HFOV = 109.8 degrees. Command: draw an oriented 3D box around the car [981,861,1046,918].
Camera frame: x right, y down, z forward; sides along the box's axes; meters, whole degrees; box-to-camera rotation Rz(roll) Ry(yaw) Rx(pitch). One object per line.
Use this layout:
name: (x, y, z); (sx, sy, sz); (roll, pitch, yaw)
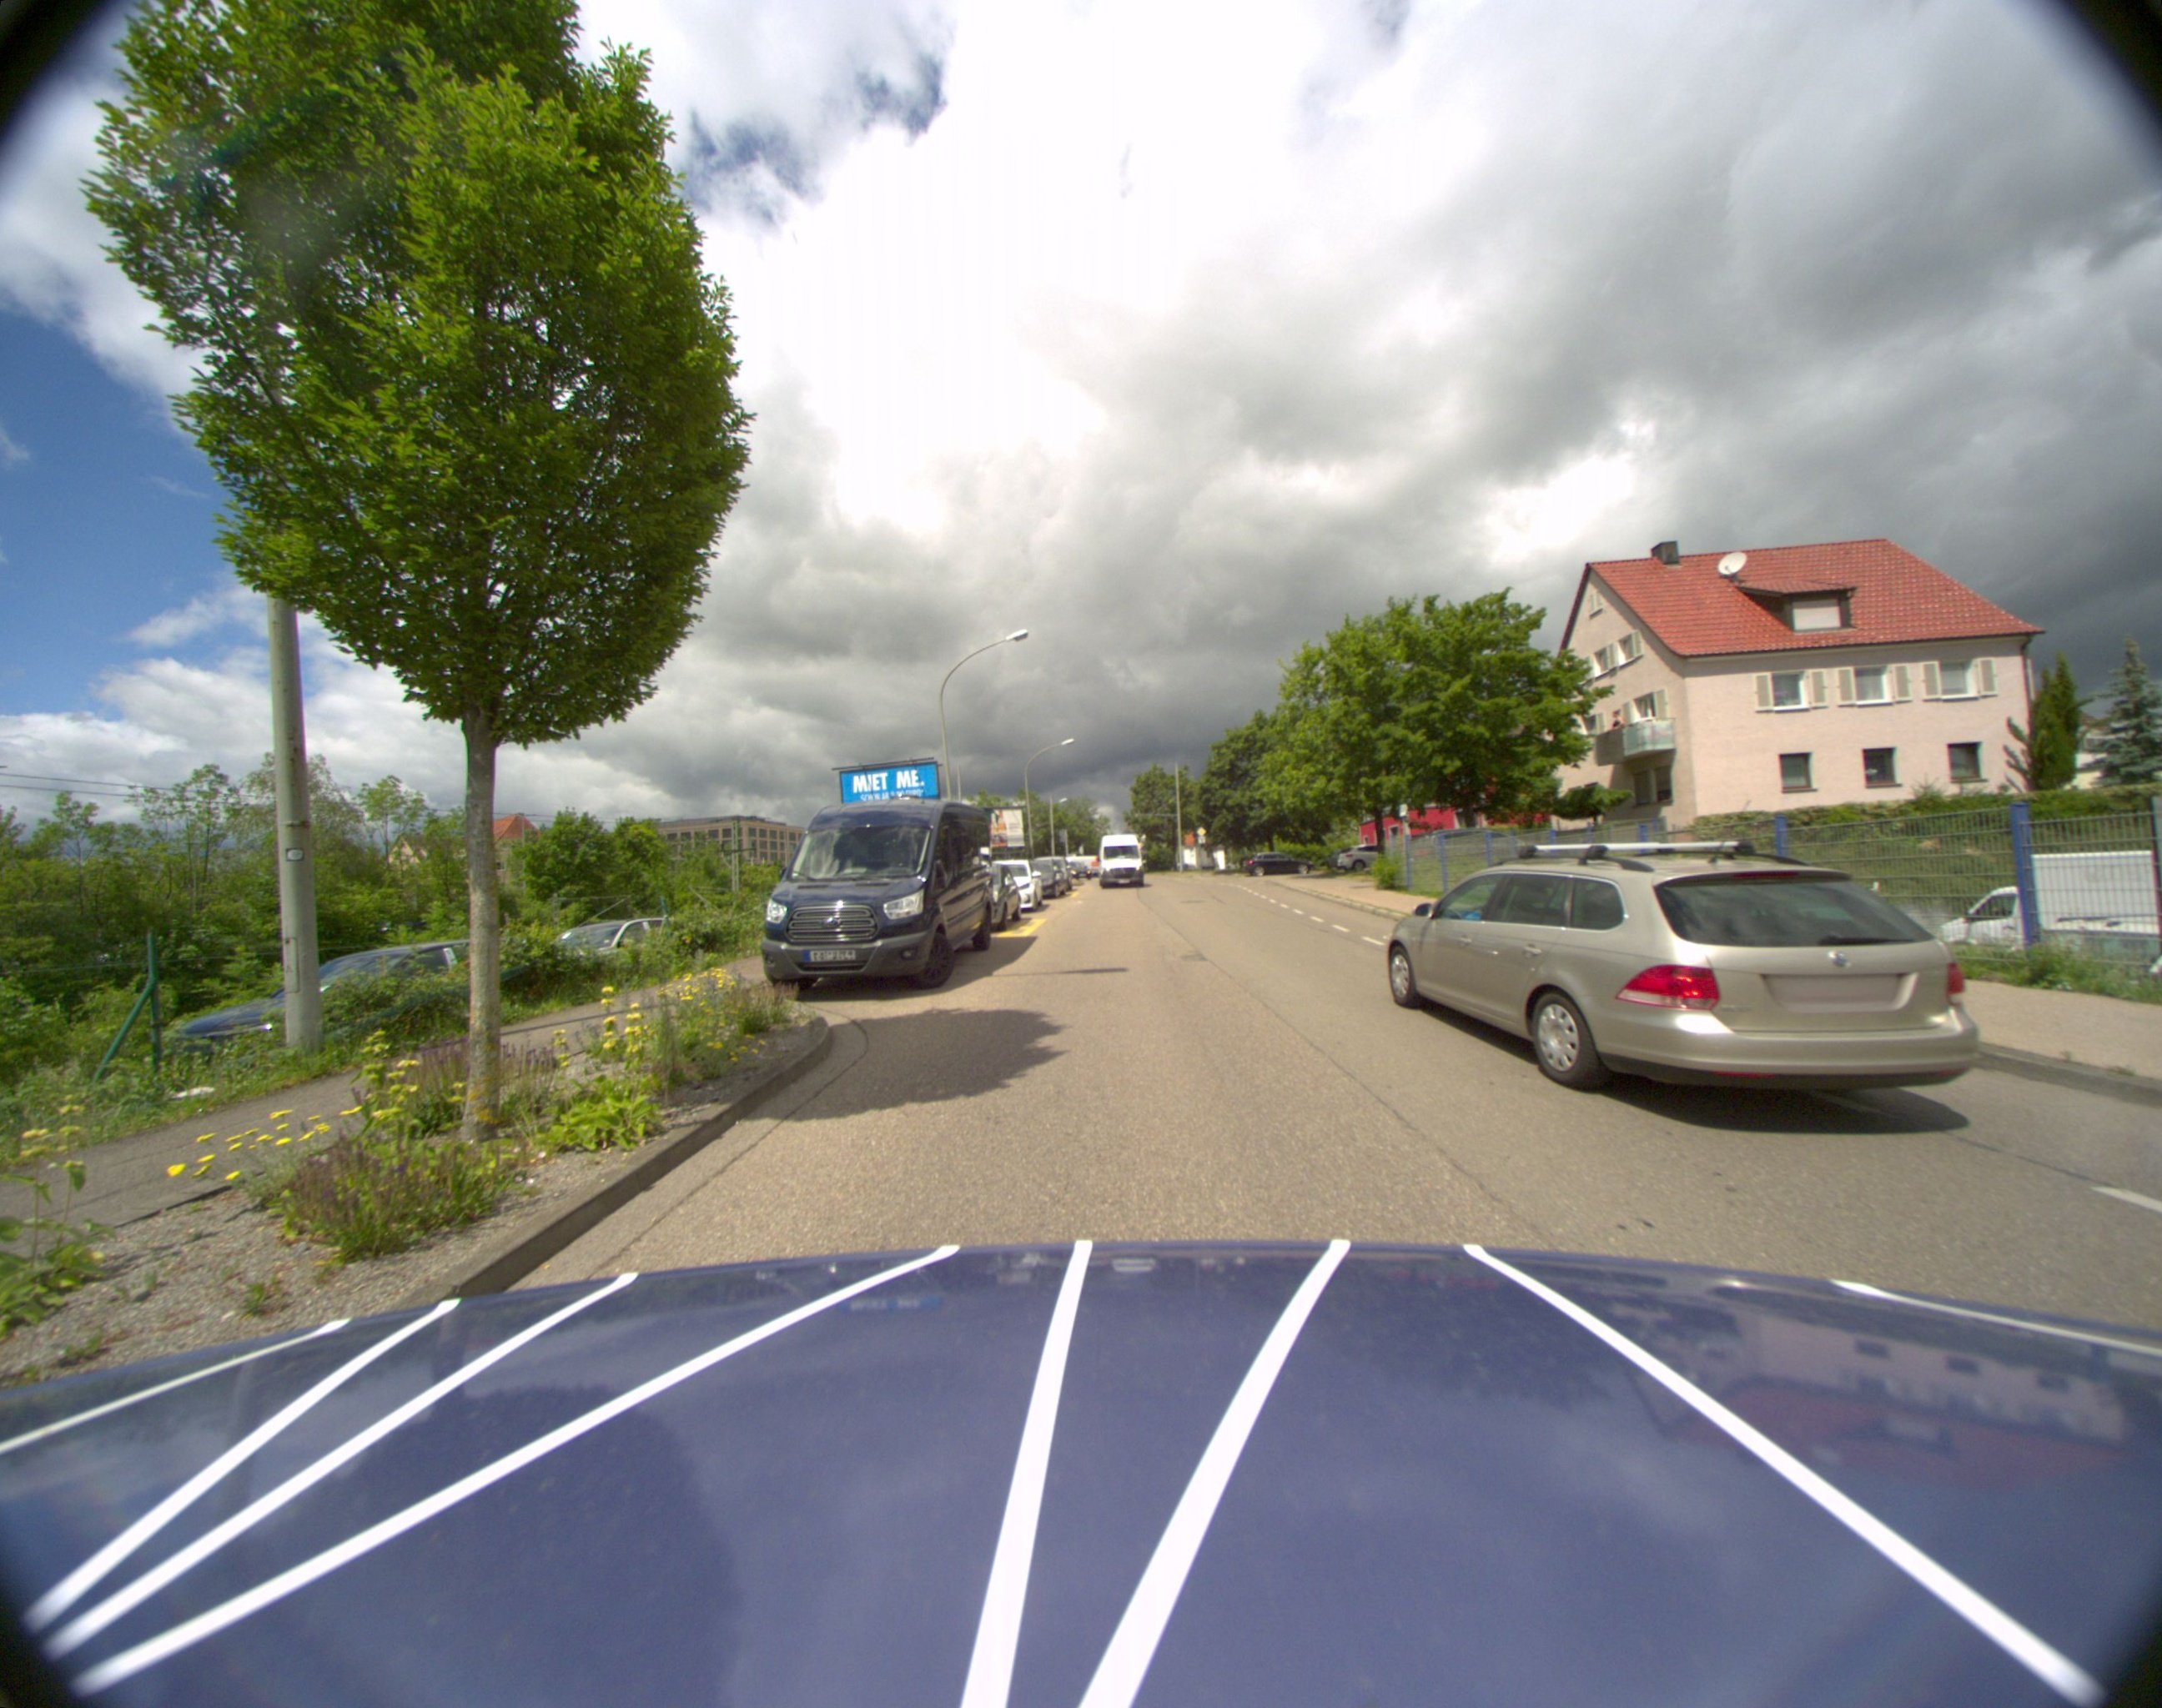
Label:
car: (-1.910, 0.988, 22.317); (1.402, 1.424, 3.445); (-2, 1, 2)

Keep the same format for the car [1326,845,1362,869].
car: (18.113, 0.177, 52.418); (1.584, 1.497, 3.861); (-2, 1, 8)

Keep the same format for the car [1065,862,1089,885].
car: (-0.346, 1.445, 57.373); (1.585, 1.497, 3.956); (-2, 0, -3)

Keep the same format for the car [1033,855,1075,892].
car: (-1.172, 0.857, 34.598); (1.584, 1.497, 3.957); (-2, 0, 2)

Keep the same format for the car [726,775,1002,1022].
car: (-2.634, 0.464, 11.026); (2.059, 2.579, 5.735); (-2, 1, 2)

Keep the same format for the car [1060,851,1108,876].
car: (0.356, 1.044, 84.503); (5.140, 2.576, 1.956); (-3, 1, -40)

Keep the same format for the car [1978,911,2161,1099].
car: (14.847, 1.839, 9.923); (3.997, 2.002, 1.851); (-2, 1, 1)

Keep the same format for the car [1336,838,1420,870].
car: (15.805, -0.004, 40.572); (3.856, 1.497, 1.586); (-2, 1, 2)

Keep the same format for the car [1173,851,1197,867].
car: (14.227, 0.676, 103.684); (1.957, 1.958, 5.138); (-2, 1, 24)

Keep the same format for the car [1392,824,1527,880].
car: (13.223, -0.067, 26.674); (3.955, 1.766, 1.523); (-2, 1, -2)

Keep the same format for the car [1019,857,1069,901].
car: (-1.365, 0.908, 29.086); (1.522, 1.446, 3.957); (-2, 0, 2)

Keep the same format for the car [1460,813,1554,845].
car: (22.472, -1.281, 40.161); (4.016, 1.497, 1.586); (-2, 1, 5)

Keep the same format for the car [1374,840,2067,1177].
car: (3.803, 0.712, 5.663); (1.646, 1.523, 4.222); (-2, 0, 1)

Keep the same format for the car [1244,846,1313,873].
car: (12.072, 0.324, 46.710); (3.855, 1.497, 1.586); (-2, 1, 5)

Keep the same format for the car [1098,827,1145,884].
car: (2.089, 0.030, 37.872); (2.081, 2.576, 6.064); (-2, 1, 5)

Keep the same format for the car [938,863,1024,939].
car: (-2.174, 0.987, 17.253); (1.334, 1.446, 3.367); (-2, 1, 2)

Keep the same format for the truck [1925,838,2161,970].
truck: (24.118, 1.039, 17.536); (2.321, 2.716, 6.595); (-2, 1, 5)

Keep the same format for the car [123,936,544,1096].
car: (-10.371, 2.158, 11.147); (1.820, 1.343, 4.300); (-2, 0, 1)

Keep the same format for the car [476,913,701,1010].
car: (-10.038, 2.125, 15.978); (1.820, 1.343, 4.300); (-2, 0, 1)
